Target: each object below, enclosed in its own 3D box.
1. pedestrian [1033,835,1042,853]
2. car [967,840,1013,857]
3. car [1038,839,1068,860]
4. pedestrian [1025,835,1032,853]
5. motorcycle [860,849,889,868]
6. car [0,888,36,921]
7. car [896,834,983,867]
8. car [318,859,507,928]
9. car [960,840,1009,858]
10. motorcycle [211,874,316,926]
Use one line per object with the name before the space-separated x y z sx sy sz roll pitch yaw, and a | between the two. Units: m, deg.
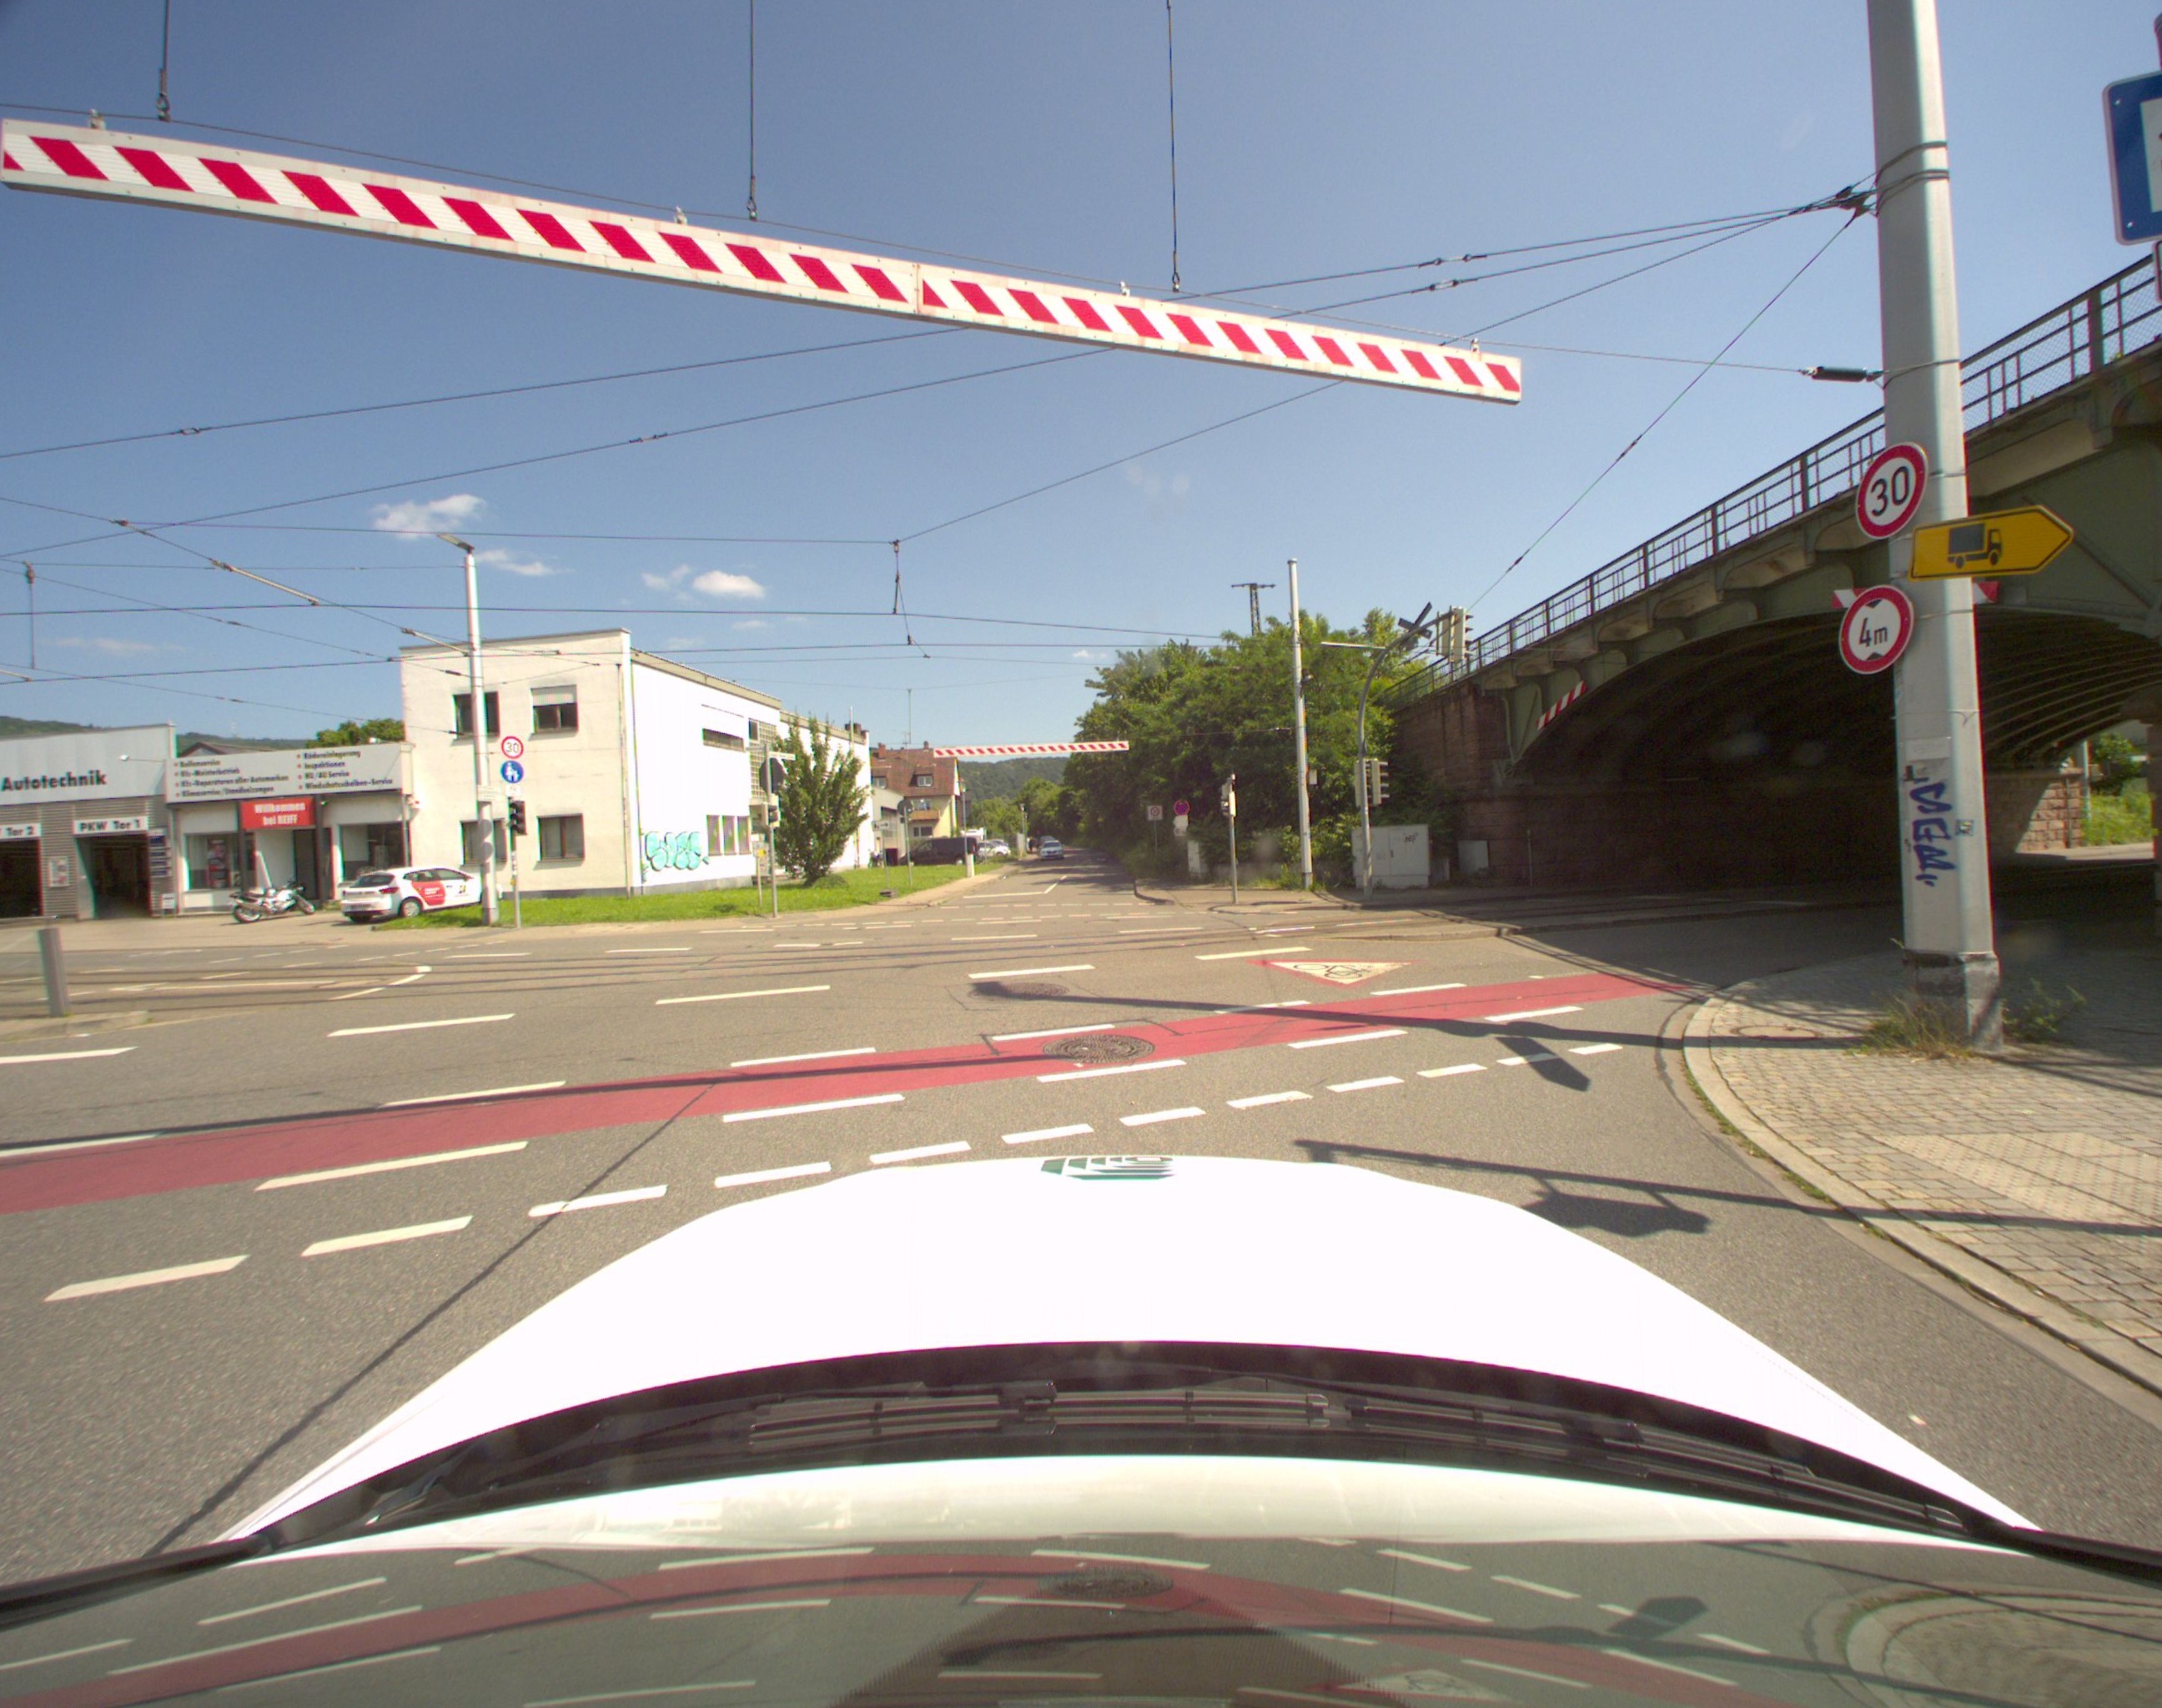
pedestrian | -4.316 -0.976 80.403 0.873 1.763 0.731 -1 -1 -1
car | -7.717 -0.442 69.407 3.707 1.371 1.605 -1 0 1
car | -2.128 -0.379 63.354 2.079 1.510 4.540 -1 1 1
pedestrian | -5.182 -0.986 80.693 0.652 1.763 0.803 -1 -1 0
motorcycle | -12.023 0.257 47.549 0.848 1.032 2.569 -1 -1 4
car | -48.255 2.299 34.972 1.712 1.376 3.777 -2 1 3
car | -9.096 -0.216 52.672 5.233 1.816 1.999 -3 0 -1
car | -19.510 1.100 24.030 1.874 1.462 4.009 -3 4 6
car | -7.874 -0.419 66.743 3.707 1.371 1.605 -1 -1 1
motorcycle | -25.069 1.376 25.038 0.725 1.308 2.195 -3 4 7
